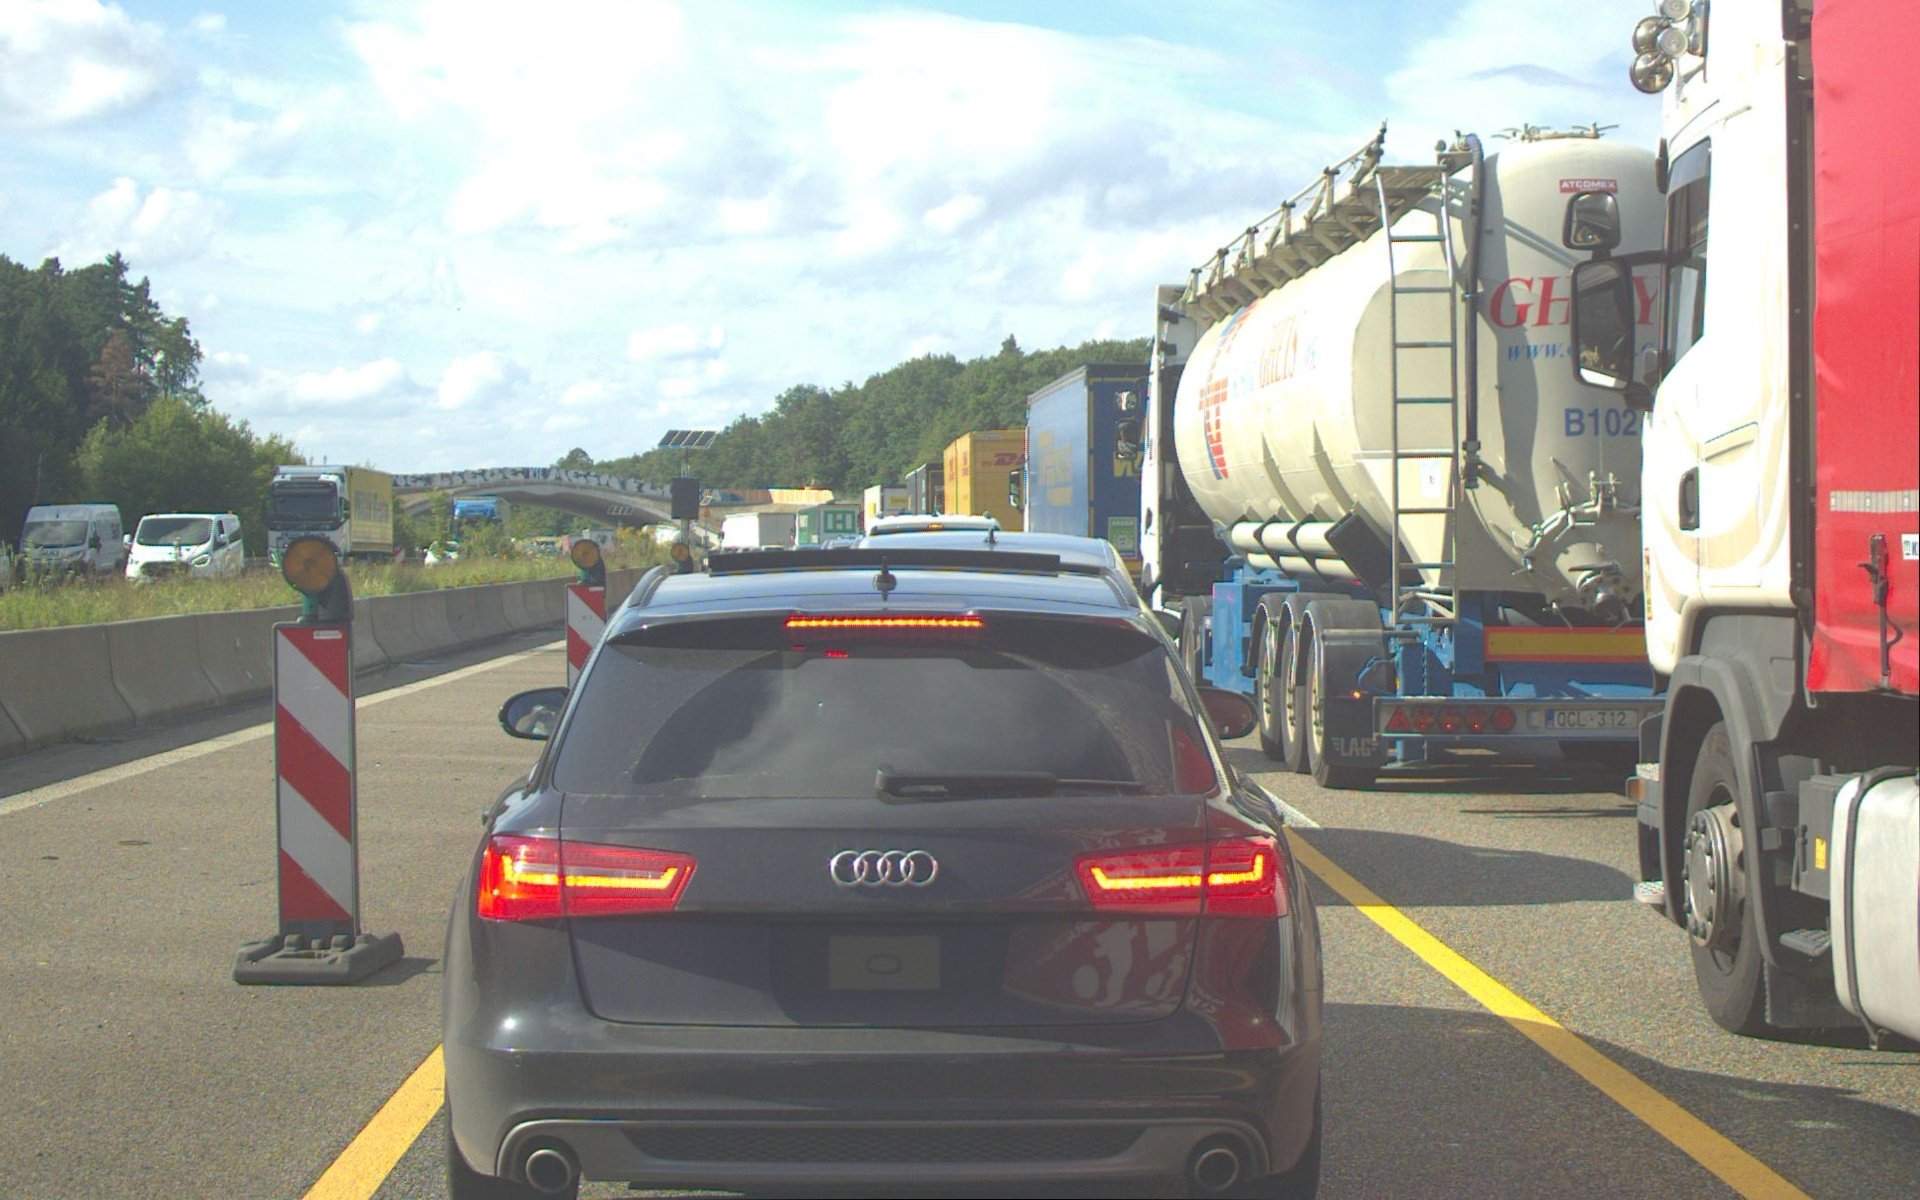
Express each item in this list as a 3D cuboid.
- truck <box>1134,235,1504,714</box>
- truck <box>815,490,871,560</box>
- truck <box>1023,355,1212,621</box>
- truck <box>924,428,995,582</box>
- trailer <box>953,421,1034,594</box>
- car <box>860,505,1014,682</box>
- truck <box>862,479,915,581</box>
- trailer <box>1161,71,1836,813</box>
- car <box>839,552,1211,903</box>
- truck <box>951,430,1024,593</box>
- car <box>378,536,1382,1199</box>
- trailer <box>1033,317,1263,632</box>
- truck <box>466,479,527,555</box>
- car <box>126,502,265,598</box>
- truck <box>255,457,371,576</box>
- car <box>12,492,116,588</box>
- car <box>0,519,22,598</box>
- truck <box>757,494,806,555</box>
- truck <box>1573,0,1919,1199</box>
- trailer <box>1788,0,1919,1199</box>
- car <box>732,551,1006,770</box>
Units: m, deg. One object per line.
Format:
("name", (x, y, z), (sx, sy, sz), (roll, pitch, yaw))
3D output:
("truck", (3.151, -1.078, 31.640), (2.659, 3.958, 5.779), (1, 0, -1))
("truck", (-7.203, -4.537, 210.043), (3.304, 4.160, 9.703), (0, 1, -2))
("truck", (2.677, -1.889, 60.769), (2.806, 4.354, 7.792), (1, 1, -1))
("truck", (-0.072, -3.126, 114.895), (1.993, 4.897, 9.563), (1, 1, -2))
("trailer", (0.751, -2.134, 81.253), (1.616, 3.905, 6.490), (1, 1, -1))
("car", (-0.253, -0.084, 37.531), (1.581, 1.830, 3.112), (1, 1, -1))
("truck", (-3.070, -2.980, 148.181), (2.137, 4.243, 7.072), (1, 1, -1))
("trailer", (3.254, -0.943, 24.716), (2.644, 3.929, 12.598), (1, 1, -1))
("car", (0.253, 0.514, 15.960), (1.524, 1.434, 3.285), (1, 1, -1))
("truck", (0.654, -2.156, 84.906), (1.609, 3.883, 4.072), (1, 0, -1))
("car", (-0.169, 0.598, 8.359), (1.848, 1.458, 4.000), (0, 1, -1))
("trailer", (2.766, -1.817, 53.673), (2.805, 4.398, 10.433), (1, 1, -1))
("truck", (-25.740, -4.596, 191.056), (2.637, 4.175, 5.468), (1, 1, -1))
("car", (-16.726, -1.092, 75.396), (1.993, 2.007, 4.832), (1, 1, -1))
("truck", (-21.997, -2.809, 117.140), (2.826, 3.895, 5.949), (1, 0, -1))
("car", (-25.362, -1.684, 97.508), (2.250, 2.634, 5.021), (1, 1, -8))
("car", (-25.449, -1.069, 87.653), (1.993, 2.007, 4.000), (1, 1, -1))
("truck", (-12.576, -5.327, 241.716), (3.303, 4.160, 9.704), (1, 1, -4))
("truck", (3.523, -0.503, 8.865), (2.667, 3.946, 5.711), (1, 1, -1))
("trailer", (3.688, -0.405, 2.265), (2.699, 3.955, 13.418), (1, 1, -1))
("car", (-0.606, 0.375, 24.075), (1.751, 1.392, 3.608), (1, 1, -1))
